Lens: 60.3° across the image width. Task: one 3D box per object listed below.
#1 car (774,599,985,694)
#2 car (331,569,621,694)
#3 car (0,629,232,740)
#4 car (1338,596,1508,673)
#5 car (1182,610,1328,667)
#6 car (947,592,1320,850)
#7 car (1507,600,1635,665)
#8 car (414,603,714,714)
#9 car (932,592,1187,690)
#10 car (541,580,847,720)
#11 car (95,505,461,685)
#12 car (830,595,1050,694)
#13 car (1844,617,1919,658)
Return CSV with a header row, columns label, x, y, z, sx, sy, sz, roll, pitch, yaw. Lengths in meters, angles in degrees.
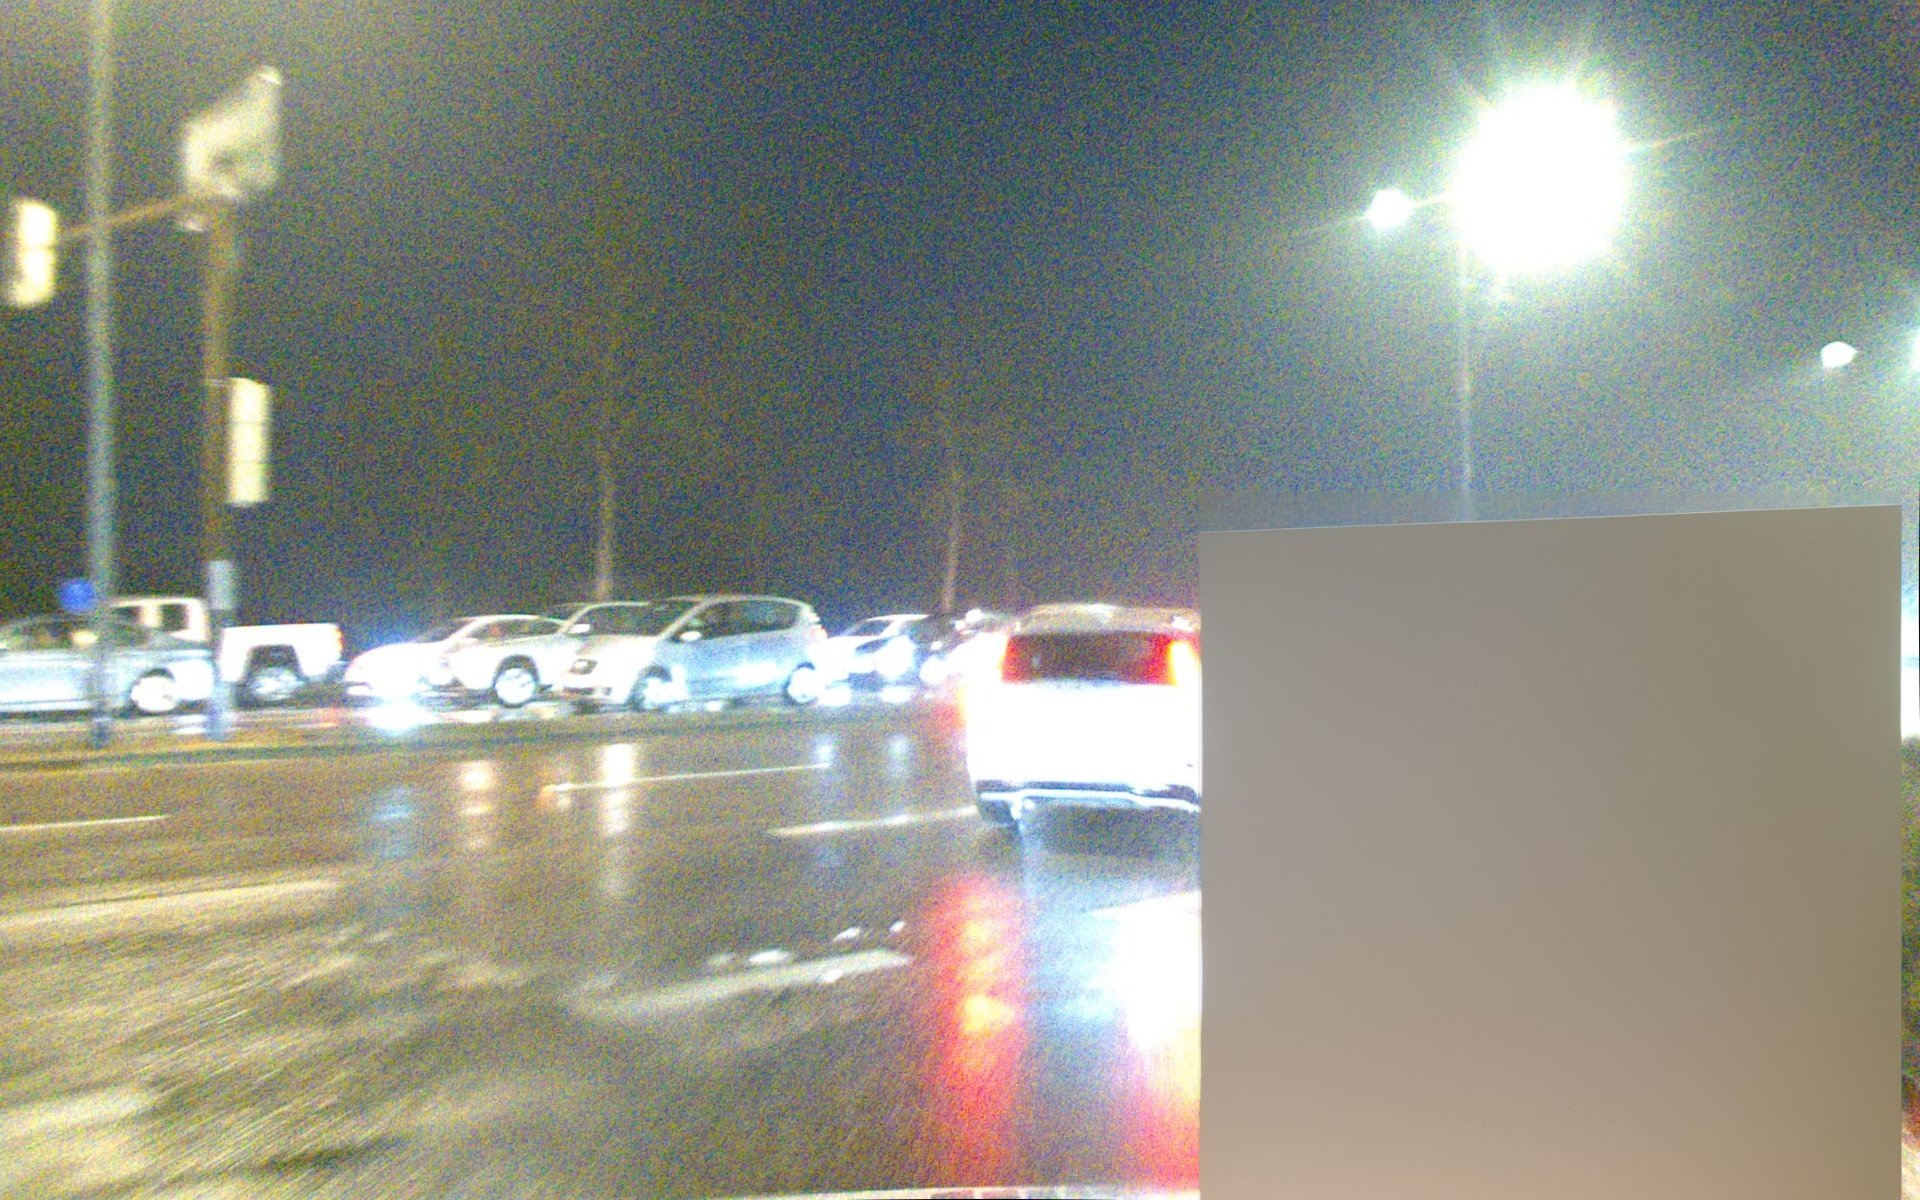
label,x,y,z,sx,sy,sz,roll,pitch,yaw
car,-1.598,0.969,33.983,4.218,1.831,1.775,2,-2,-45
car,-7.955,0.555,27.445,4.252,1.880,1.737,4,-2,-45
car,-12.771,1.132,22.733,4.765,1.452,1.737,2,-2,-44
car,10.313,0.742,36.654,1.788,1.605,4.275,-2,-2,44
car,7.653,0.966,42.707,4.010,1.401,1.736,0,-1,-45
car,1.454,0.724,11.973,1.759,1.477,4.270,1,0,19
car,18.040,0.980,48.724,4.453,1.695,1.775,4,-2,-44
car,-5.818,0.871,24.556,4.020,1.513,1.693,2,-2,-41
car,1.729,0.663,27.646,4.377,1.510,1.754,0,-2,-44
car,-3.597,0.630,22.745,3.869,1.755,1.738,0,0,-43
car,-11.822,-0.012,28.812,5.535,2.757,2.232,3,-2,-32
car,-0.321,0.837,30.518,3.947,1.695,1.775,2,-2,-45
car,40.083,1.647,71.790,1.858,1.557,4.399,1,-2,45
